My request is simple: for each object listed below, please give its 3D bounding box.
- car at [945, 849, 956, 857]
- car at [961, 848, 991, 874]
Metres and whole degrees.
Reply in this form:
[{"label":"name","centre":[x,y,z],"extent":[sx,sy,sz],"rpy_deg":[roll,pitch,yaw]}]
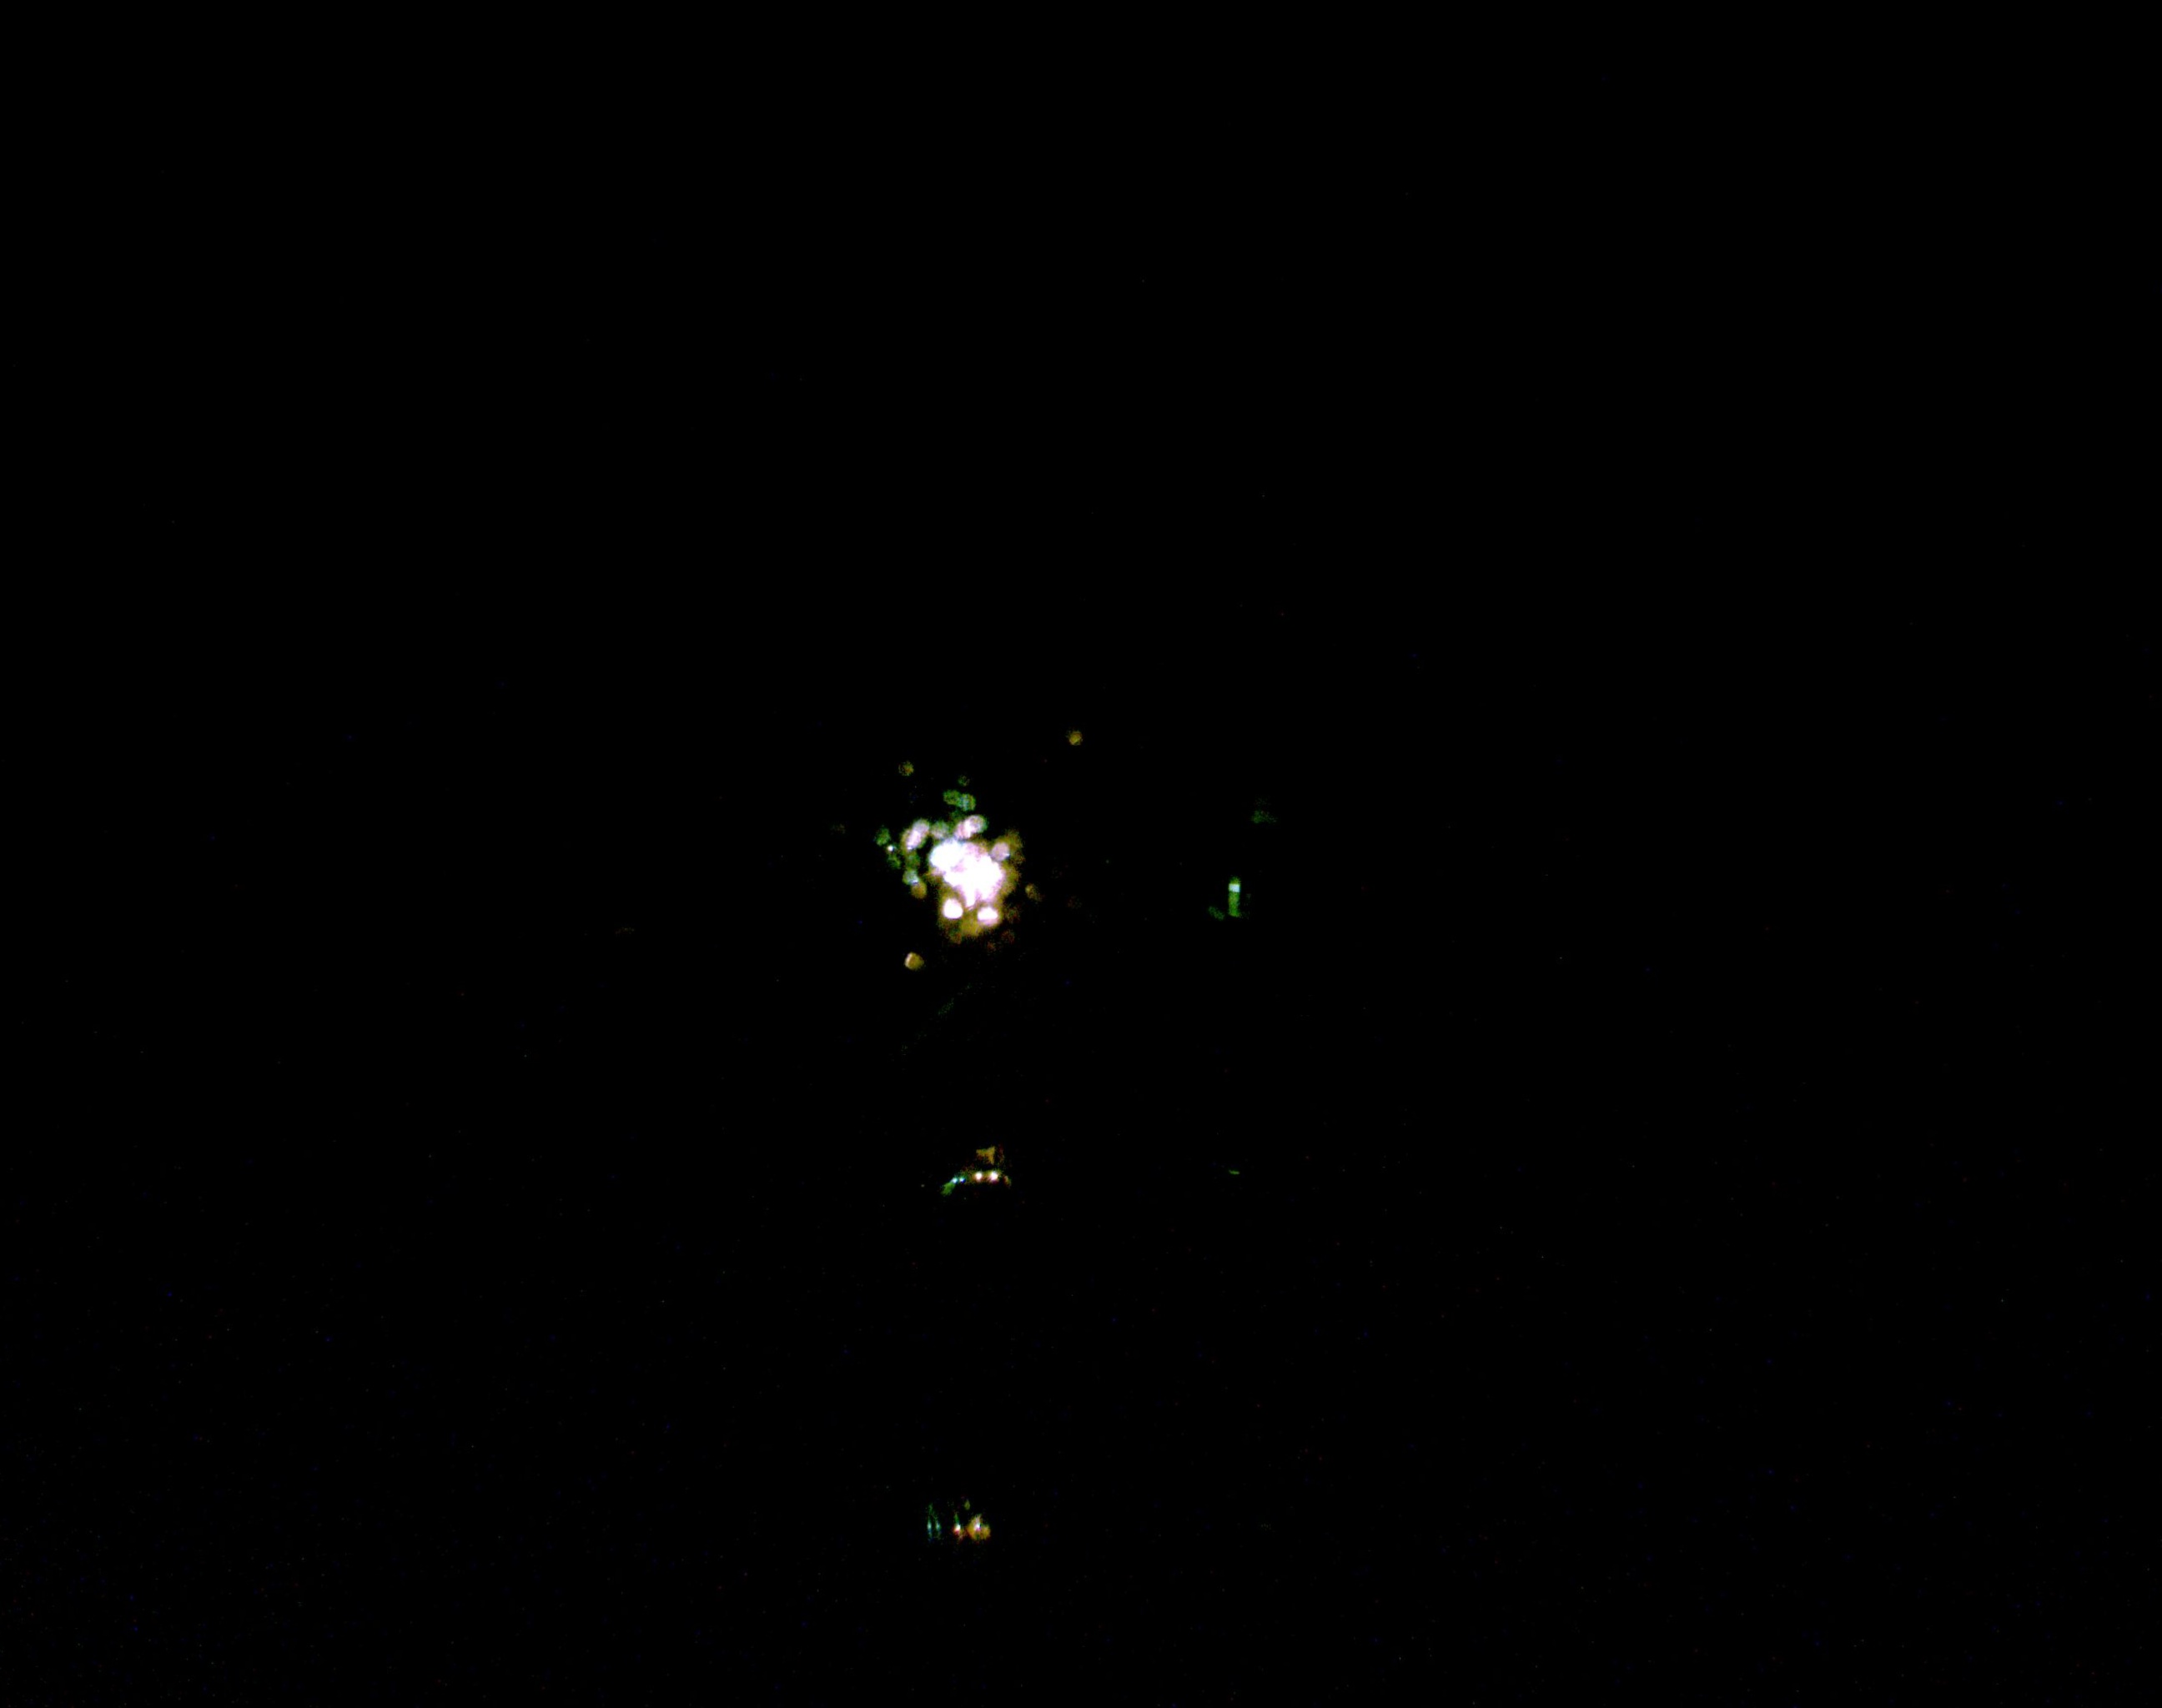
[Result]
[{"label":"car","centre":[-25.582,-0.249,159.116],"extent":[1.994,1.472,3.823],"rpy_deg":[0,1,-11]},{"label":"car","centre":[-8.297,0.544,64.034],"extent":[1.996,1.926,3.982],"rpy_deg":[0,0,-13]}]
